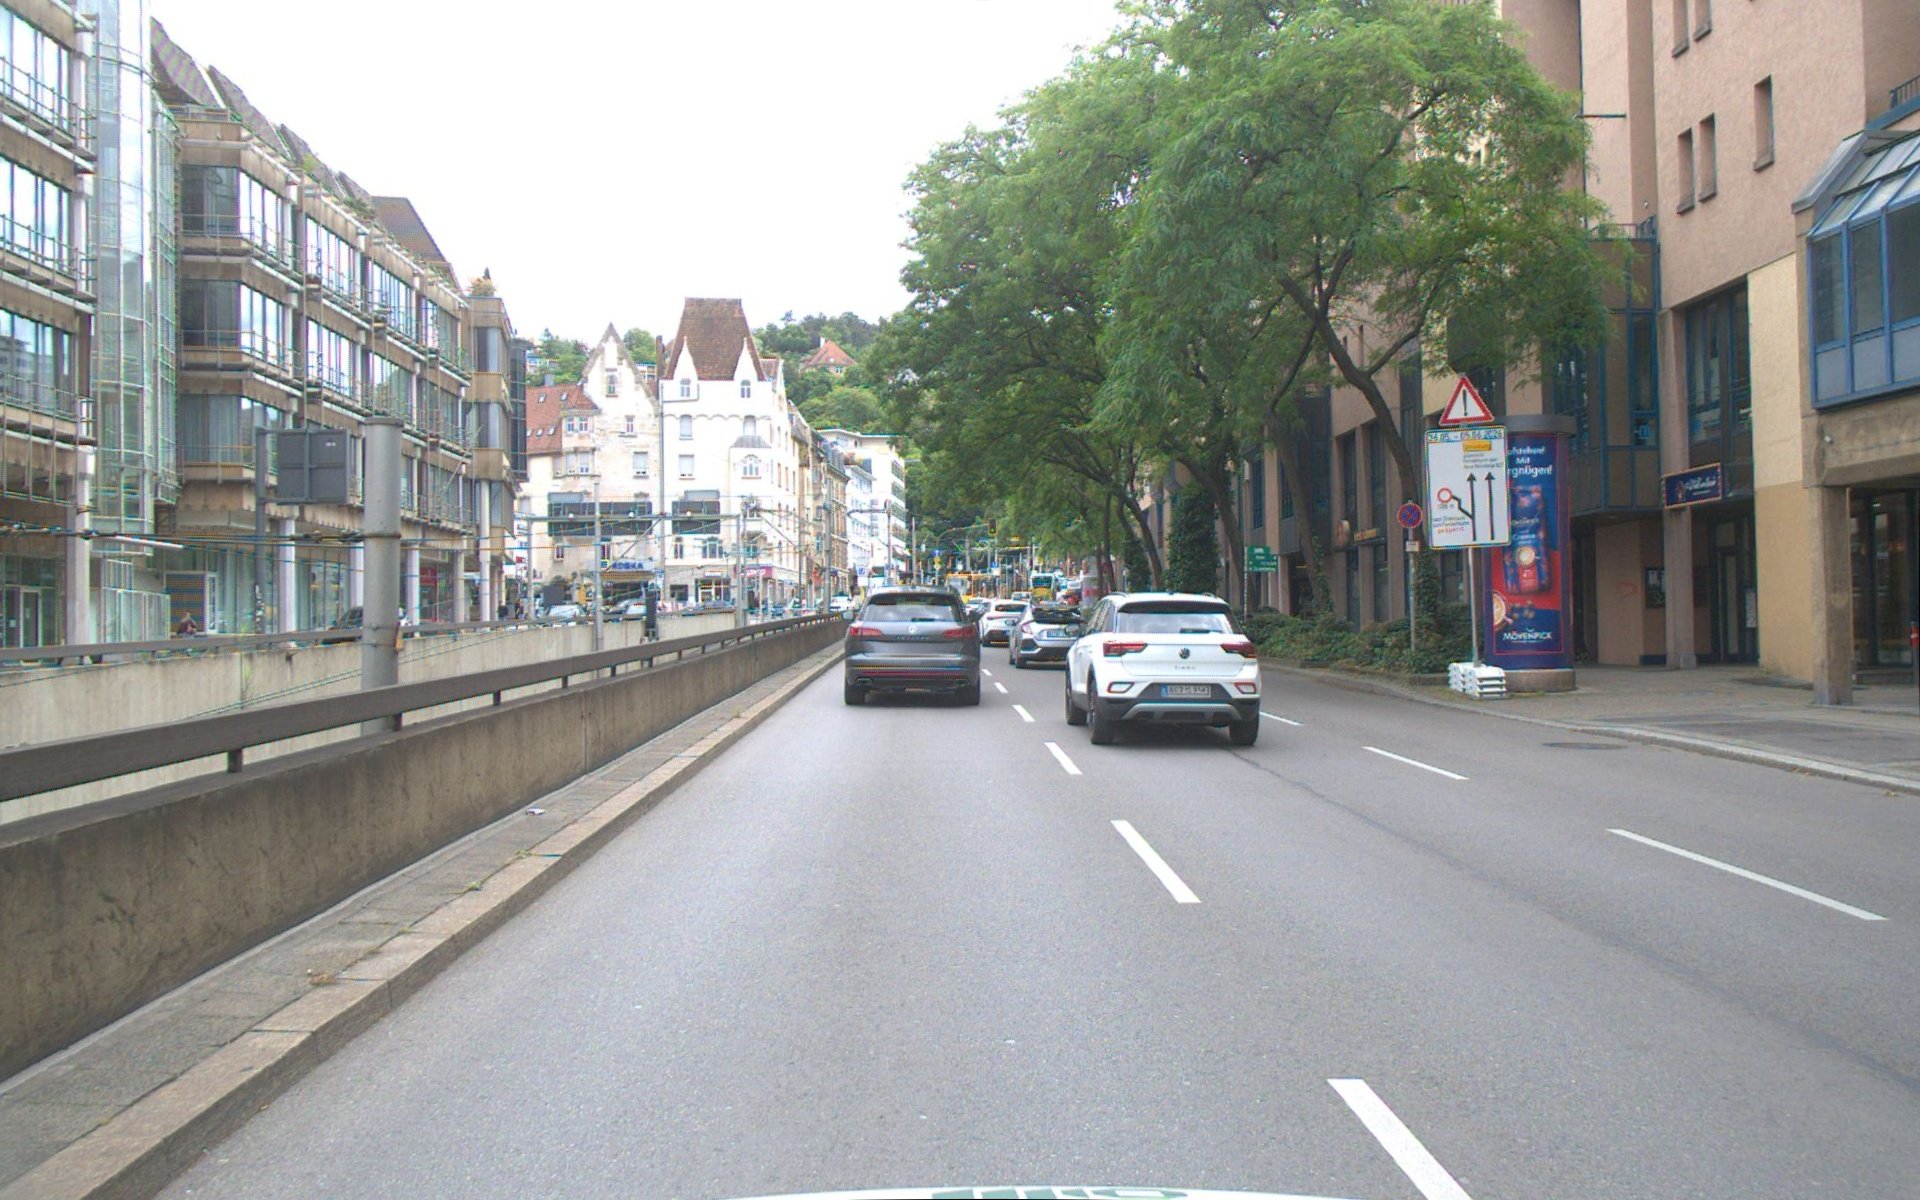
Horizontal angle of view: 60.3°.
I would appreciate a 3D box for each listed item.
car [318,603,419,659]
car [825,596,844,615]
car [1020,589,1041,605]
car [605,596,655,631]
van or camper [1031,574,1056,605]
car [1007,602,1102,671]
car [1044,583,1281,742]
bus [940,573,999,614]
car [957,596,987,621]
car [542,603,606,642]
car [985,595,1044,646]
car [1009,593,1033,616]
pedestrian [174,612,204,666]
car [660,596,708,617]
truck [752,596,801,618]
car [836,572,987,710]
[{"bbox_3d":[-20.223,1.026,56.754,1.953,1.798,4.279,-1,0,-1],"label":"car"},{"bbox_3d":[-11.820,0.485,155.495,1.783,1.676,3.996,-1,0,-5],"label":"car"},{"bbox_3d":[6.711,-0.270,157.235,1.804,1.495,4.002,-1,0,5],"label":"car"},{"bbox_3d":[-18.141,0.724,91.058,1.953,1.798,3.999,-1,0,-1],"label":"car"},{"bbox_3d":[9.016,-1.092,177.762,2.572,3.234,5.806,-1,0,4],"label":"van or camper"},{"bbox_3d":[2.092,0.784,37.560,1.796,1.457,4.146,0,0,-2],"label":"car"},{"bbox_3d":[2.122,0.645,18.430,1.763,1.572,3.929,0,-1,-7],"label":"car"},{"bbox_3d":[1.016,-0.599,157.513,3.768,3.593,17.258,-1,0,6],"label":"bus"},{"bbox_3d":[0.797,0.560,112.367,1.795,1.594,3.766,-2,0,-2],"label":"car"},{"bbox_3d":[-17.732,1.015,76.147,1.953,1.713,4.000,-1,0,0],"label":"car"},{"bbox_3d":[1.755,0.649,54.428,1.794,1.544,3.767,-3,0,0],"label":"car"},{"bbox_3d":[5.315,0.427,144.350,1.794,1.907,4.870,-2,0,0],"label":"car"},{"bbox_3d":[-27.021,1.344,57.961,0.760,1.856,0.711,-1,0,-11],"label":"pedestrian"},{"bbox_3d":[-23.180,0.520,138.836,3.916,1.676,1.820,-1,0,-11],"label":"car"},{"bbox_3d":[-14.971,0.595,135.313,2.062,1.676,4.798,-1,0,20],"label":"truck"},{"bbox_3d":[-0.740,0.512,24.242,1.931,1.725,4.223,-3,1,-3],"label":"car"}]
